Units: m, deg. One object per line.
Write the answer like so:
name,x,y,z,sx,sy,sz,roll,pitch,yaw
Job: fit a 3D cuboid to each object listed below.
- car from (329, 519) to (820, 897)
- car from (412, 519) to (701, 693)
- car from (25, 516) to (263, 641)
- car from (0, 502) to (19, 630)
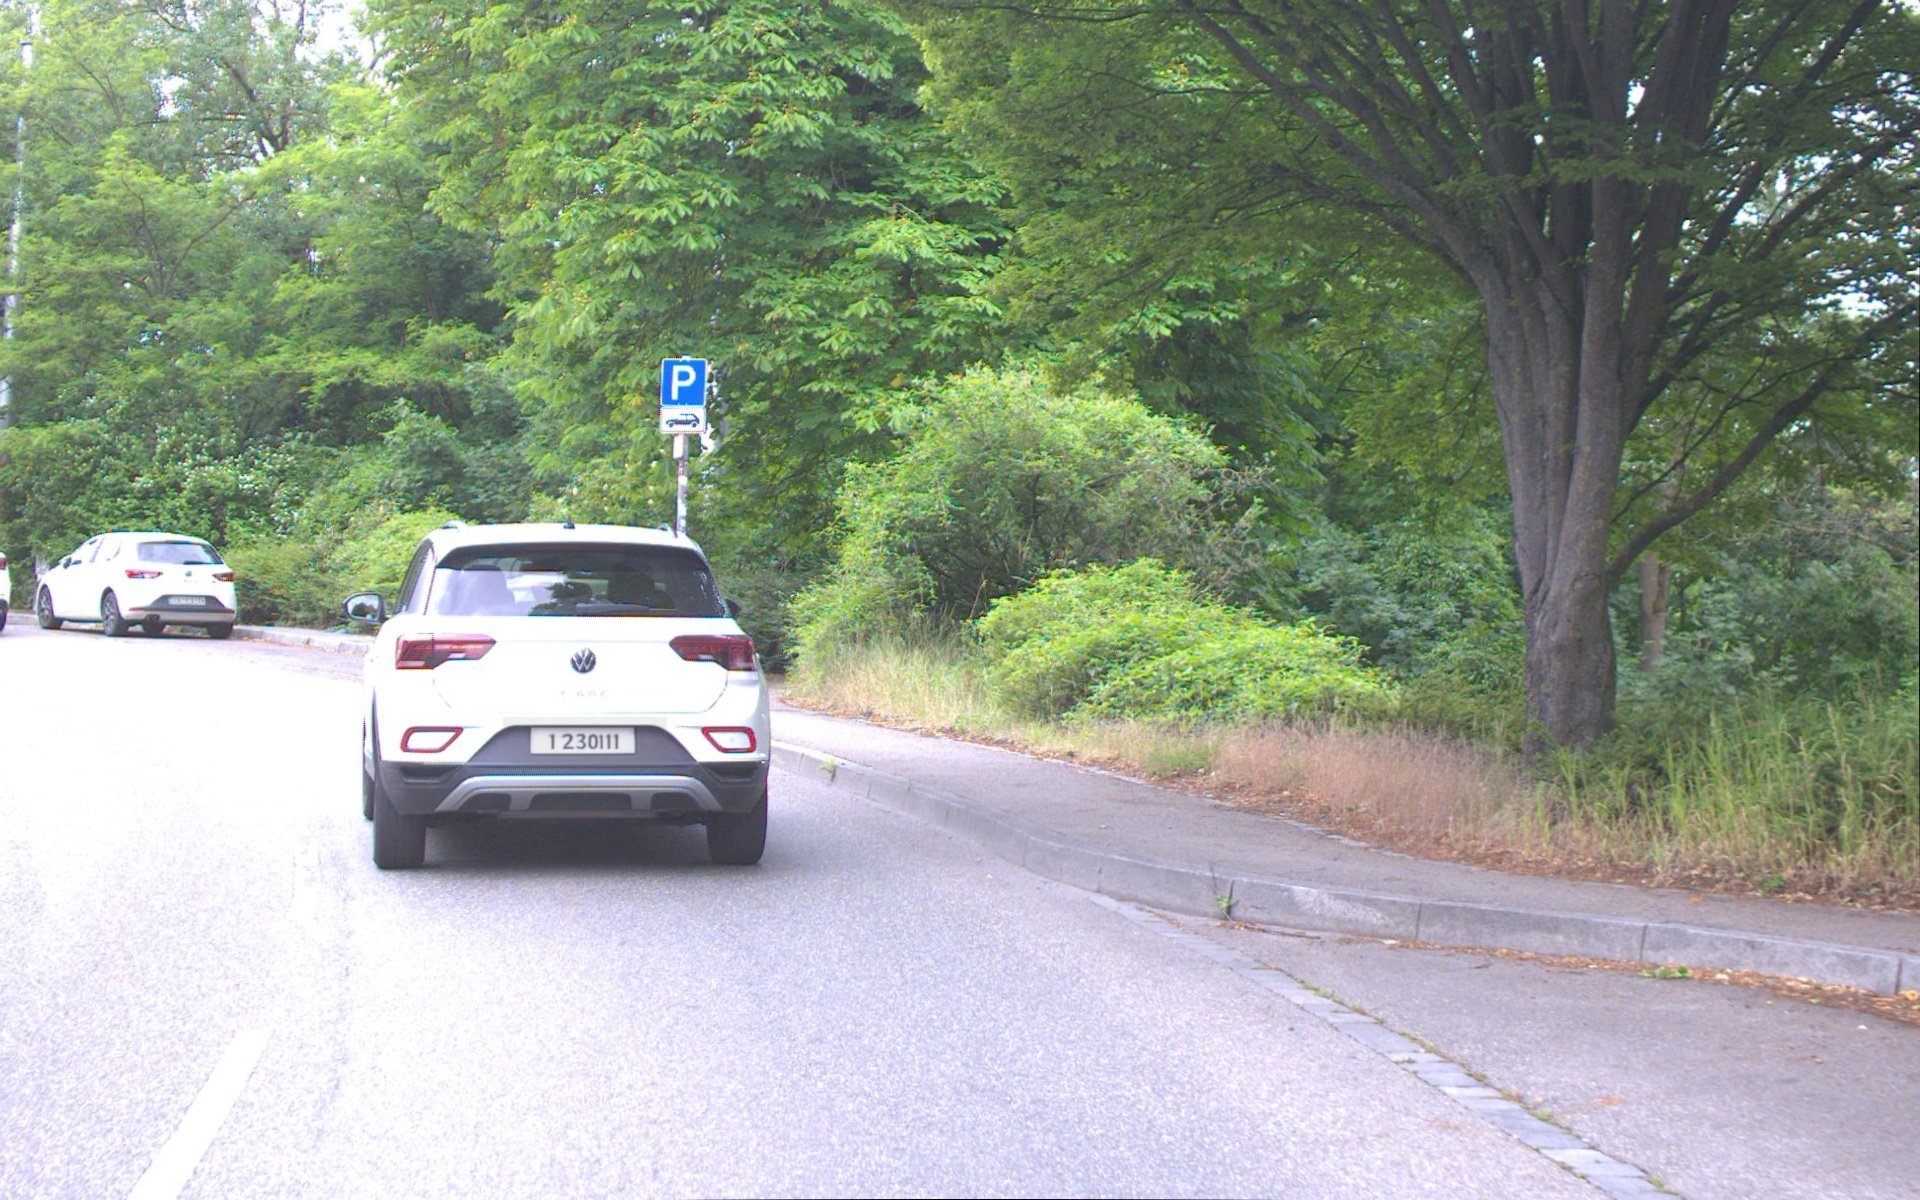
car,-1.991,0.418,16.624,2.000,1.590,4.001,1,1,-11
car,-4.195,0.016,35.109,1.758,1.646,4.382,0,1,-23
car,-11.573,-0.330,48.553,1.733,1.477,4.702,3,1,-33
car,-14.381,-0.464,46.963,1.851,1.697,4.000,-1,1,-32
